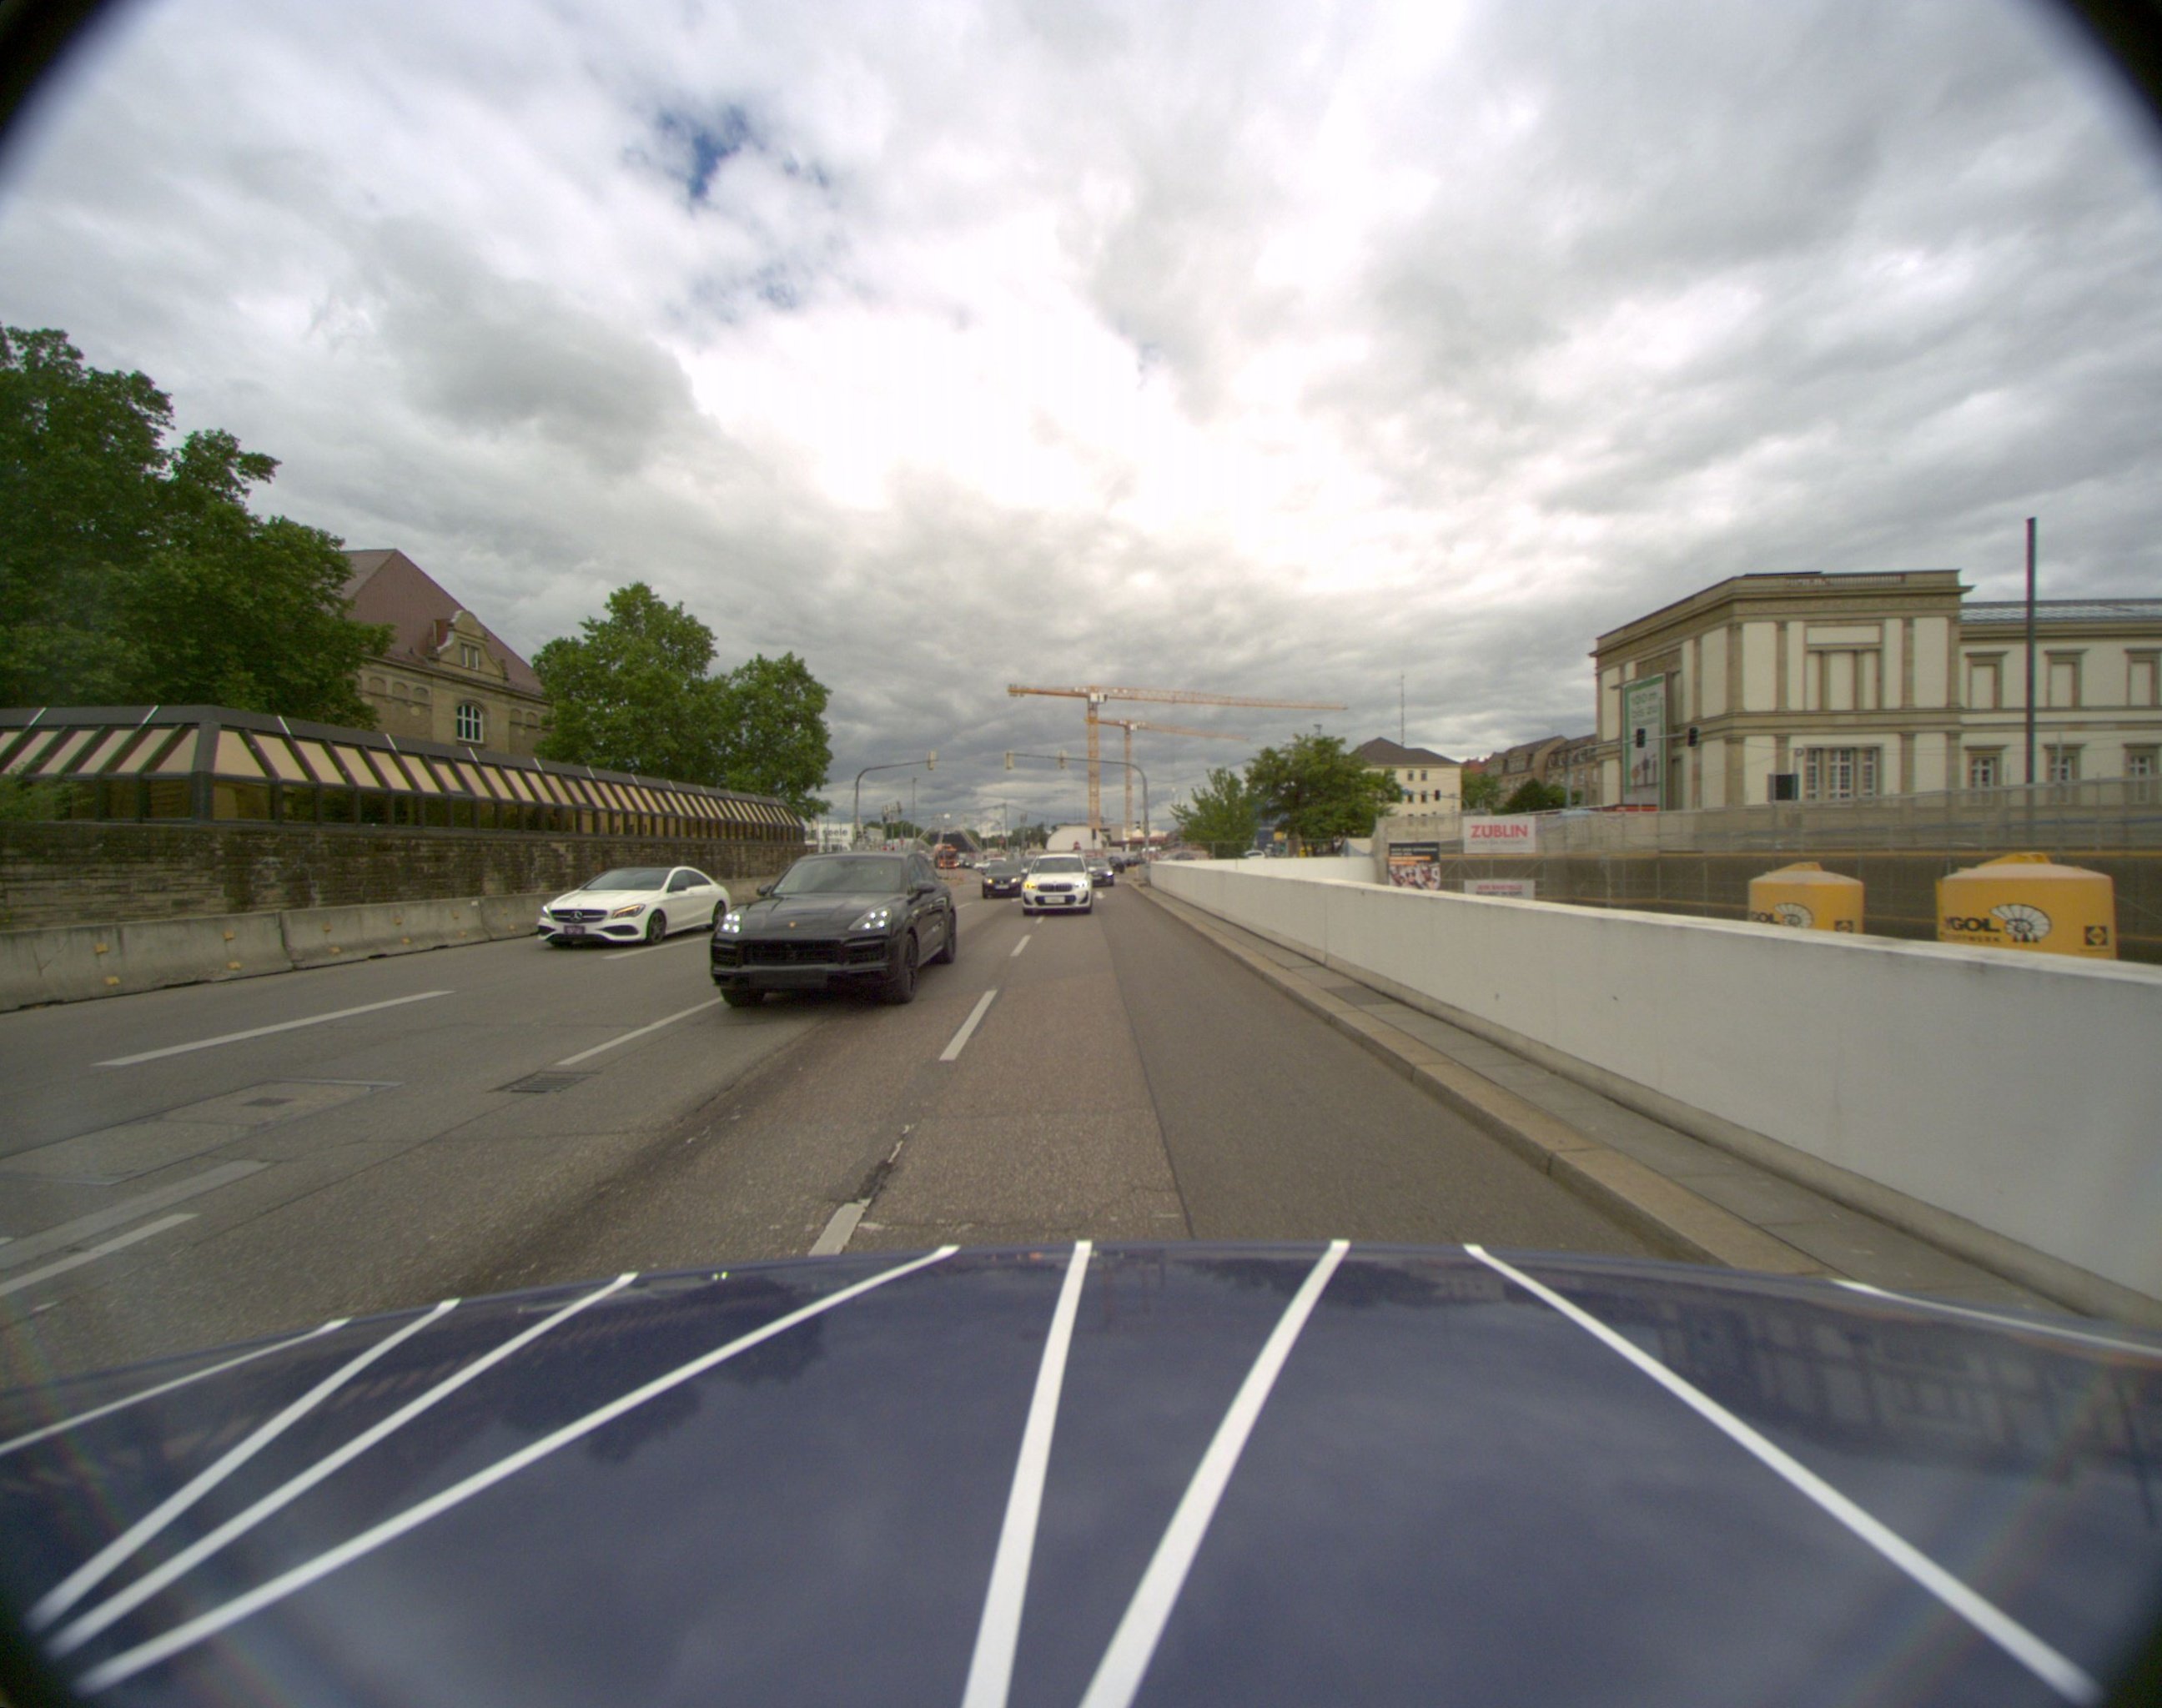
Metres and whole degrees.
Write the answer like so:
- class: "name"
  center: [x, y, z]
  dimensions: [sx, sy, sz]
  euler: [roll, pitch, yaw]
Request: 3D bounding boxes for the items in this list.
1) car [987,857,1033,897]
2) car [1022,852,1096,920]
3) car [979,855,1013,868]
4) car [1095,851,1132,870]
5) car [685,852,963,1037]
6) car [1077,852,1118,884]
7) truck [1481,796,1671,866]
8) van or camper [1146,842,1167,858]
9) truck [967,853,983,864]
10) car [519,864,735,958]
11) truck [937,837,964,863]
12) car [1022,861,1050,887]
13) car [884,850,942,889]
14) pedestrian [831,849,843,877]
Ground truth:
- class: "car"
  center: [-2.860, 0.890, 31.307]
  dimensions: [1.733, 1.461, 4.417]
  euler: [0, 1, -4]
- class: "car"
  center: [-0.610, 0.808, 21.174]
  dimensions: [1.812, 1.596, 3.711]
  euler: [-2, 1, -2]
- class: "car"
  center: [-10.368, 0.936, 93.276]
  dimensions: [4.070, 1.564, 1.692]
  euler: [0, -1, -5]
- class: "car"
  center: [2.679, 0.529, 62.222]
  dimensions: [1.873, 1.412, 4.110]
  euler: [-2, 1, 20]
- class: "car"
  center: [-2.792, 0.854, 9.519]
  dimensions: [1.956, 1.638, 4.606]
  euler: [1, 2, -1]
- class: "car"
  center: [0.850, 0.645, 37.275]
  dimensions: [1.852, 1.412, 4.105]
  euler: [-2, 0, 3]
- class: "truck"
  center: [33.284, -1.406, 52.653]
  dimensions: [2.924, 4.059, 16.615]
  euler: [0, 0, 2]
- class: "van or camper"
  center: [10.855, -0.607, 109.415]
  dimensions: [1.995, 2.215, 4.005]
  euler: [0, 2, 22]
- class: "truck"
  center: [-15.175, 0.639, 108.892]
  dimensions: [1.827, 1.531, 3.756]
  euler: [-1, 0, -15]
- class: "car"
  center: [-8.444, 0.963, 14.664]
  dimensions: [1.739, 1.427, 4.379]
  euler: [0, 1, -3]
- class: "truck"
  center: [-19.016, -0.587, 110.636]
  dimensions: [2.913, 3.654, 9.013]
  euler: [-1, 1, -16]
- class: "car"
  center: [-2.606, 1.135, 44.345]
  dimensions: [1.577, 1.411, 3.569]
  euler: [0, 1, -3]
- class: "car"
  center: [-8.737, 0.773, 39.851]
  dimensions: [1.936, 1.926, 3.674]
  euler: [1, 0, 4]
- class: "pedestrian"
  center: [-17.804, 0.666, 55.455]
  dimensions: [0.623, 2.002, 0.849]
  euler: [-3, 2, -26]
